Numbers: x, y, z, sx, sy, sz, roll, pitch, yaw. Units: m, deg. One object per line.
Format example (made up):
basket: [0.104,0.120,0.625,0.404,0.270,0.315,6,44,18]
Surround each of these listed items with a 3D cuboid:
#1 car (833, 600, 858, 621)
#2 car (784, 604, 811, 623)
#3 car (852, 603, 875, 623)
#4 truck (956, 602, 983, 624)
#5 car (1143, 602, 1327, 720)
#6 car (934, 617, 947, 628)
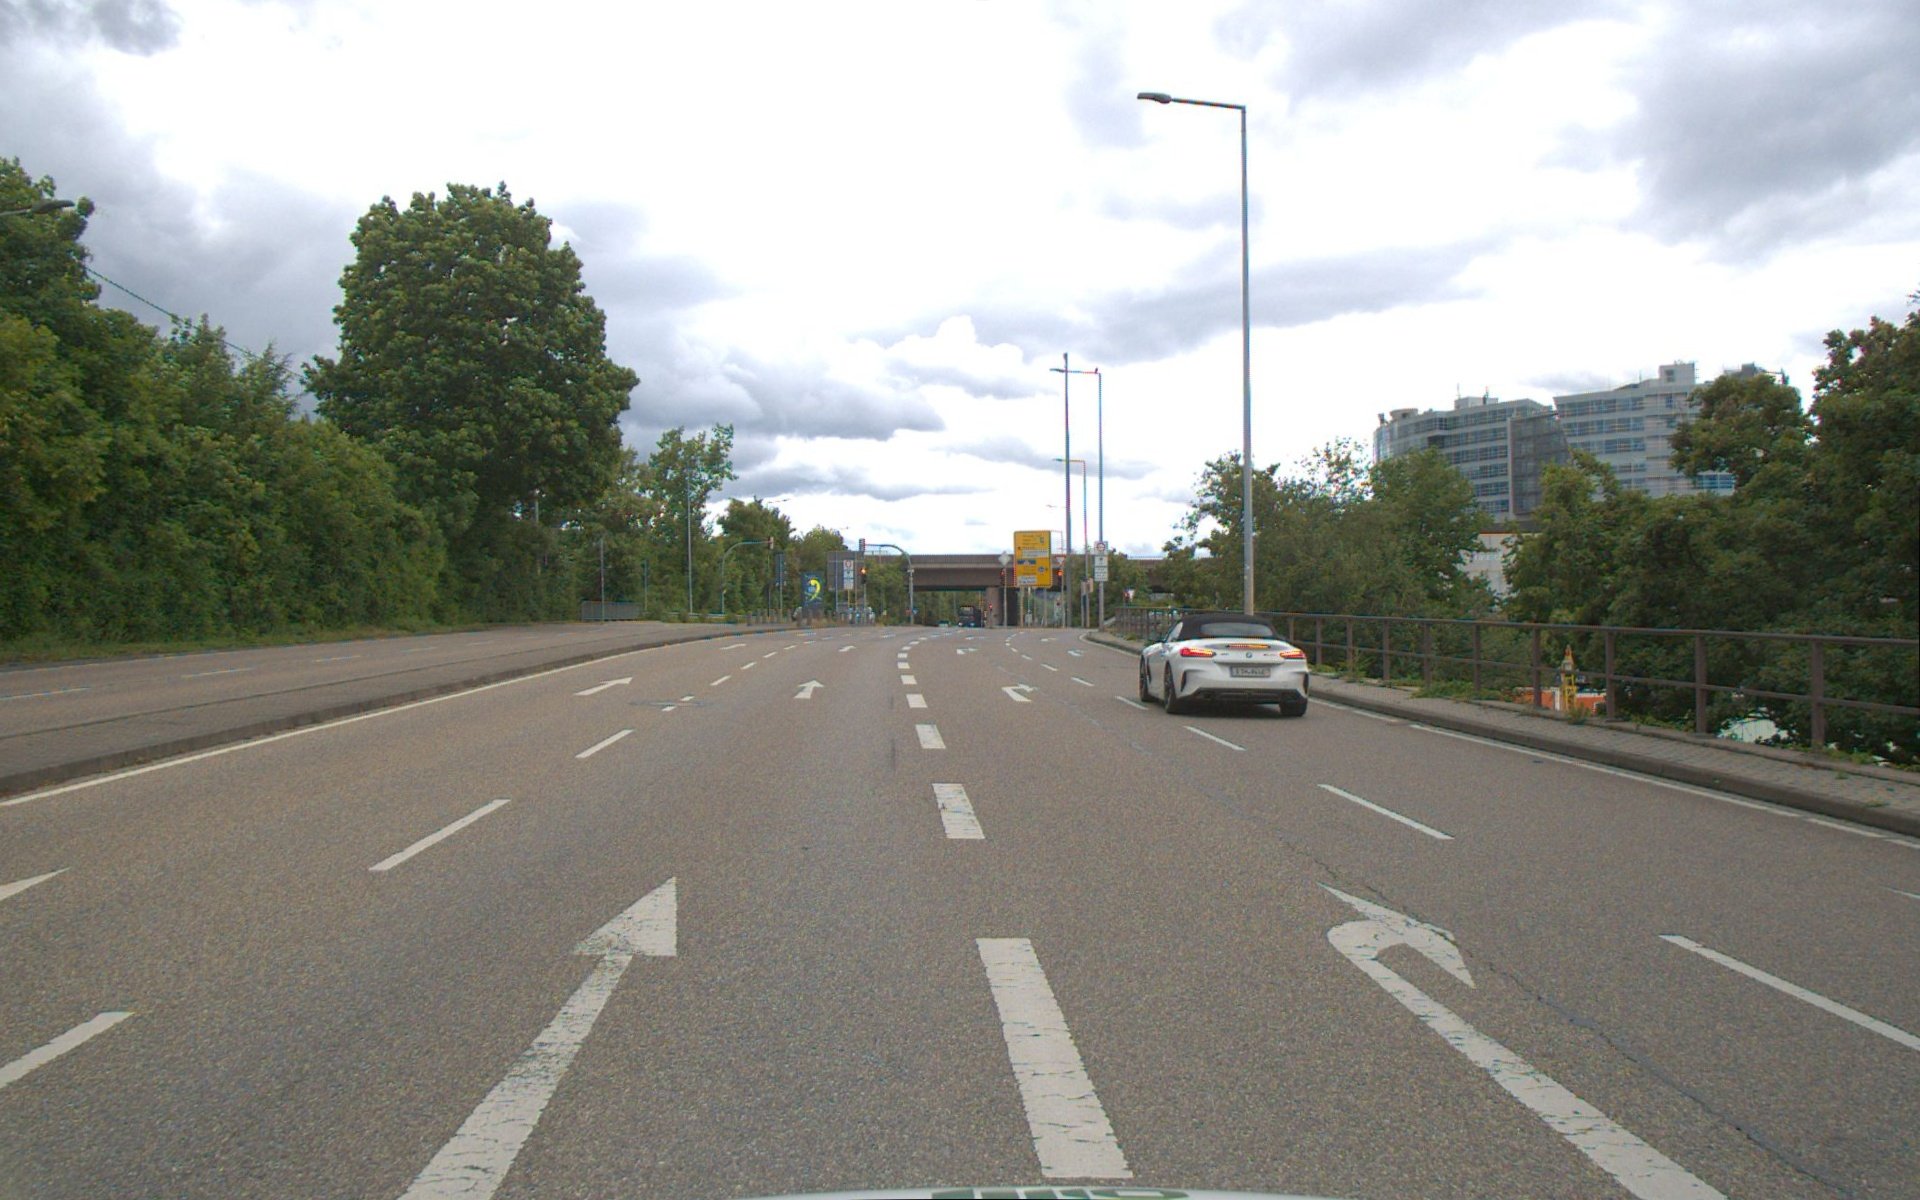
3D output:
car: [-9.317,0.863,134.859,1.735,1.674,3.824,1,-1,0]
car: [-13.105,1.095,133.746,1.724,1.510,3.484,2,0,1]
car: [-8.283,1.110,142.523,1.735,1.661,3.824,1,-1,0]
truck: [1.512,2.020,255.507,2.861,3.201,10.118,1,-1,8]
car: [3.689,0.770,22.814,1.836,1.332,3.873,2,1,0]
car: [-2.916,3.425,250.558,1.704,1.564,3.673,1,0,4]
